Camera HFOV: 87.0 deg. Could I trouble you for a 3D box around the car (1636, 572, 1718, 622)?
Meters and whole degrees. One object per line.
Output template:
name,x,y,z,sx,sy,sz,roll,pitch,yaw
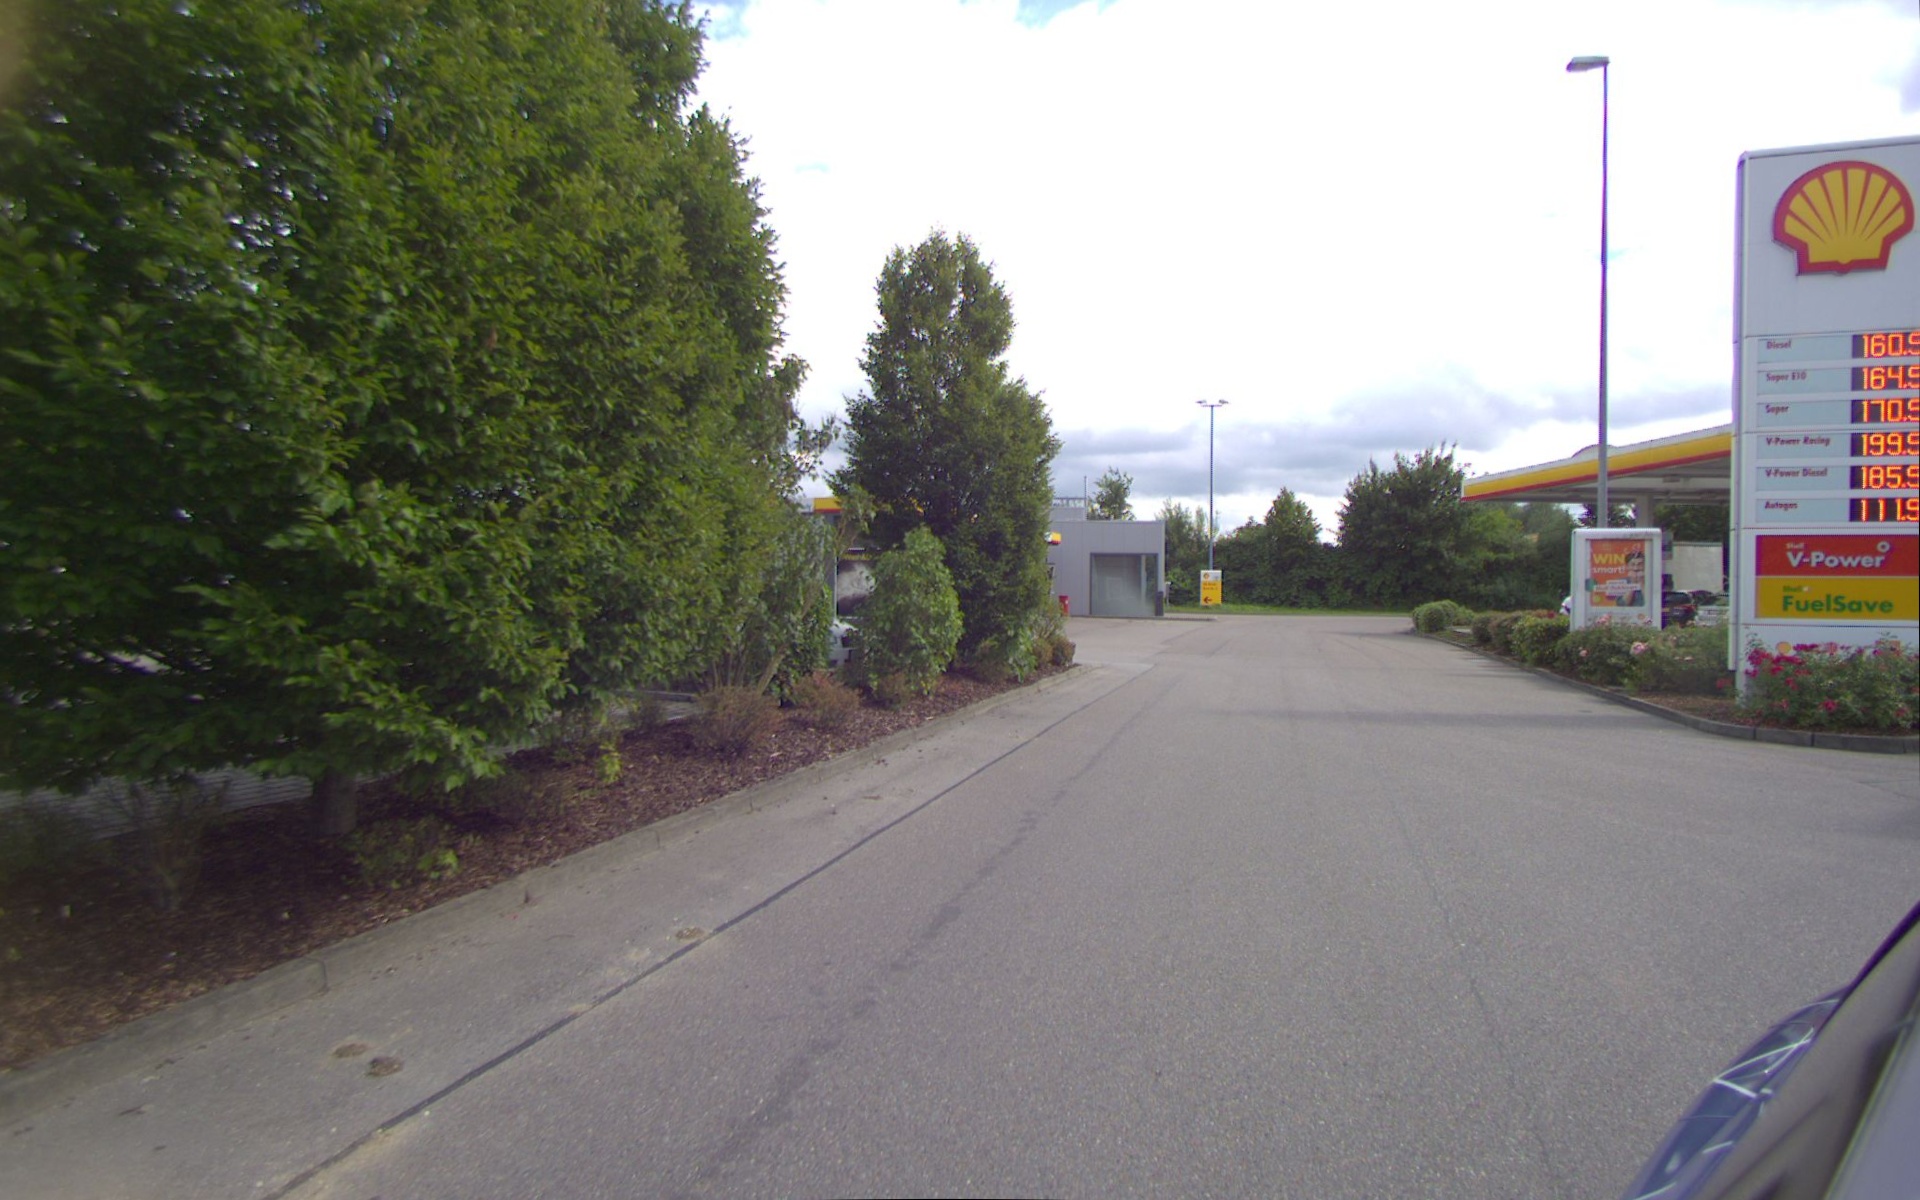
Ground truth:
car,24.335,-0.123,34.297,1.843,1.594,3.940,1,1,41

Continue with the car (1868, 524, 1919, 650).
car,24.030,-0.281,23.915,5.693,2.822,2.226,0,0,-31

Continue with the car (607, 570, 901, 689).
car,-2.941,0.343,14.478,3.838,1.453,1.713,2,1,23
